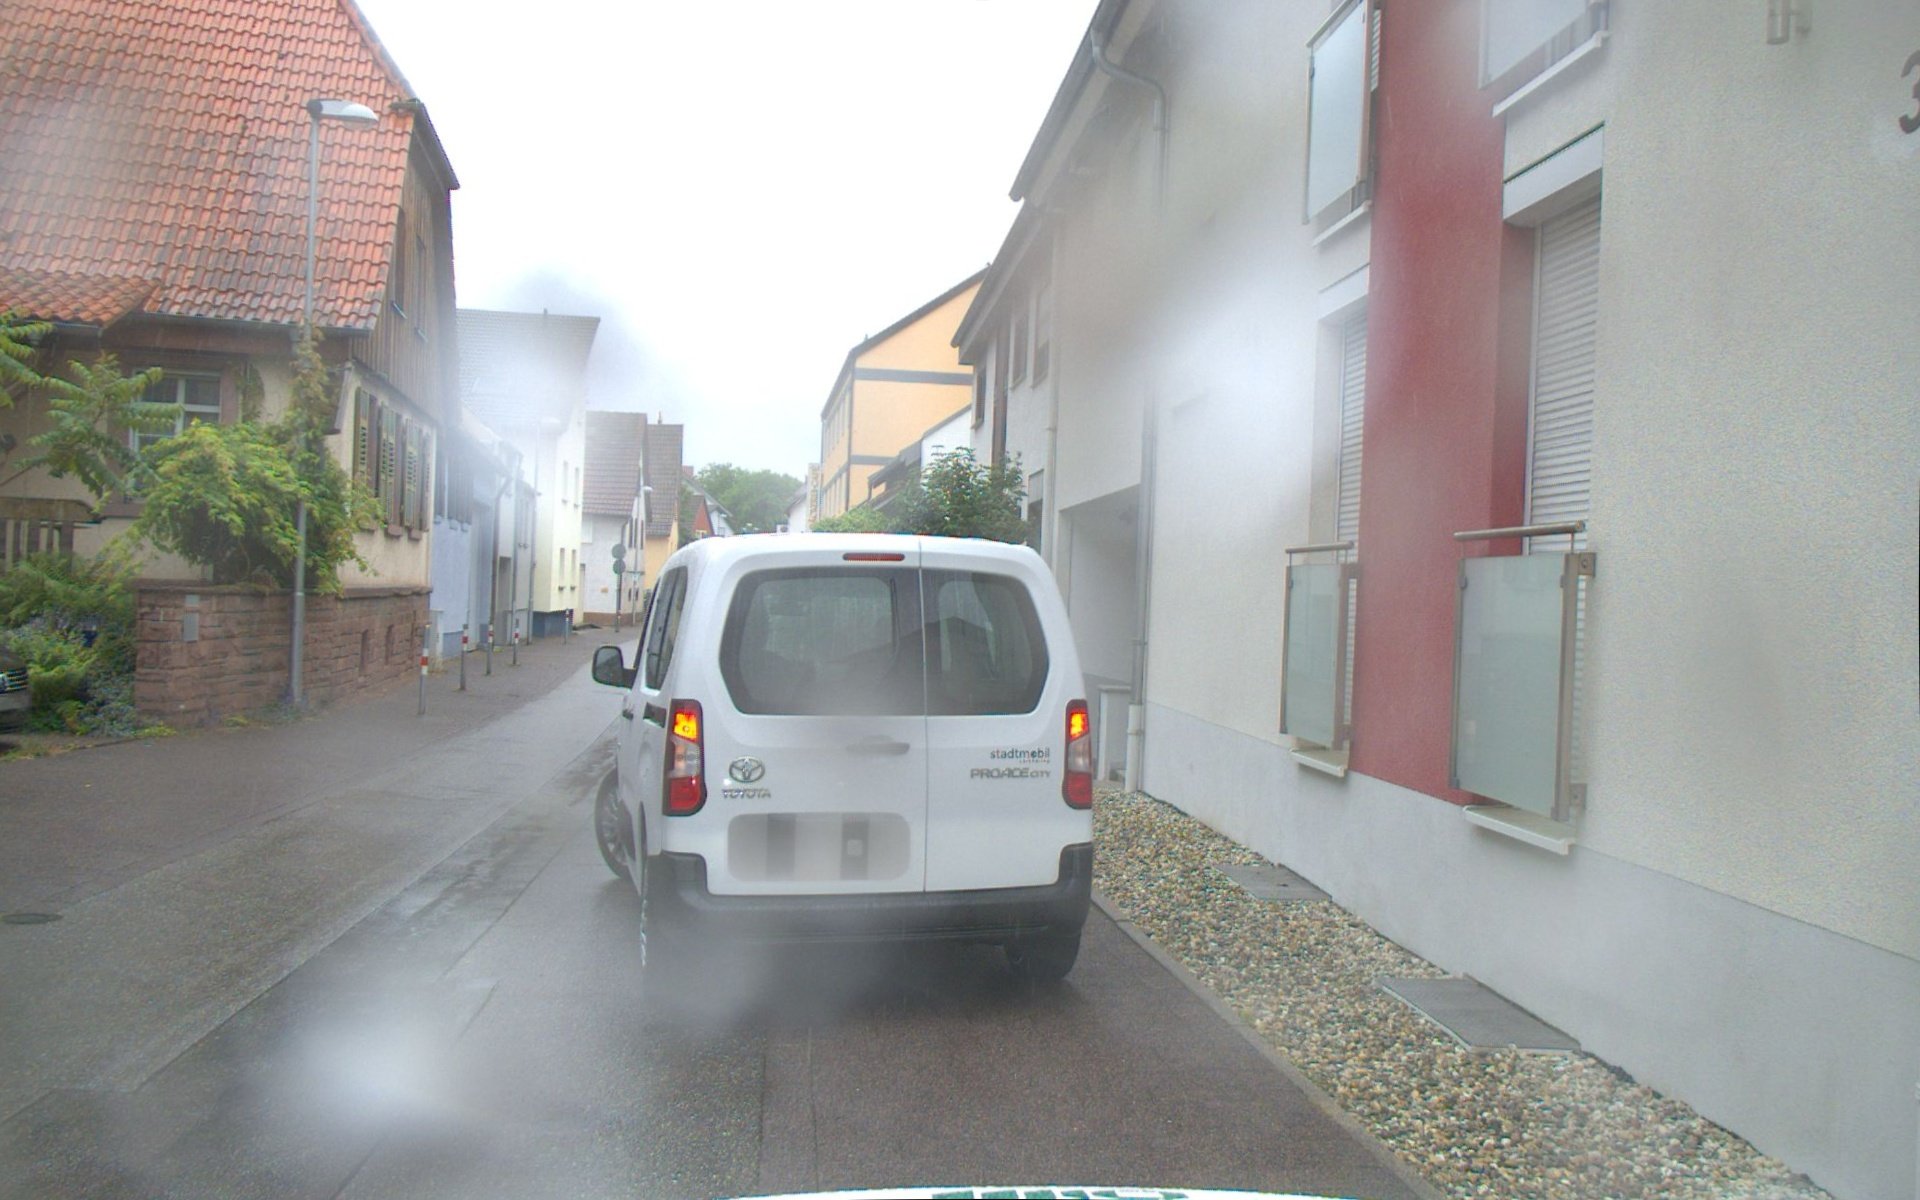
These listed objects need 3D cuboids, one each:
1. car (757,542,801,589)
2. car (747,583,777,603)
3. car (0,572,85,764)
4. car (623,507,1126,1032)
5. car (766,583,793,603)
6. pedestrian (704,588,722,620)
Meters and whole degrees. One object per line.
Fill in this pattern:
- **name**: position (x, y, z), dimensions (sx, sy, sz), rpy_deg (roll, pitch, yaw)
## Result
- **car**: position (-8.330, -1.553, 76.278), dimensions (1.955, 2.049, 3.995), rpy_deg (1, 0, -6)
- **car**: position (-16.930, -0.589, 141.480), dimensions (1.952, 1.586, 3.433), rpy_deg (-1, 2, 2)
- **car**: position (-9.344, 0.328, 12.945), dimensions (3.908, 1.450, 1.735), rpy_deg (7, -1, -1)
- **car**: position (-0.670, 0.602, 7.857), dimensions (1.744, 1.811, 3.987), rpy_deg (1, 0, -12)
- **car**: position (-13.296, -0.471, 121.943), dimensions (1.747, 1.419, 3.991), rpy_deg (1, 0, -10)
- **pedestrian**: position (-15.095, 0.238, 101.127), dimensions (1.031, 1.926, 0.875), rpy_deg (1, -1, -9)
